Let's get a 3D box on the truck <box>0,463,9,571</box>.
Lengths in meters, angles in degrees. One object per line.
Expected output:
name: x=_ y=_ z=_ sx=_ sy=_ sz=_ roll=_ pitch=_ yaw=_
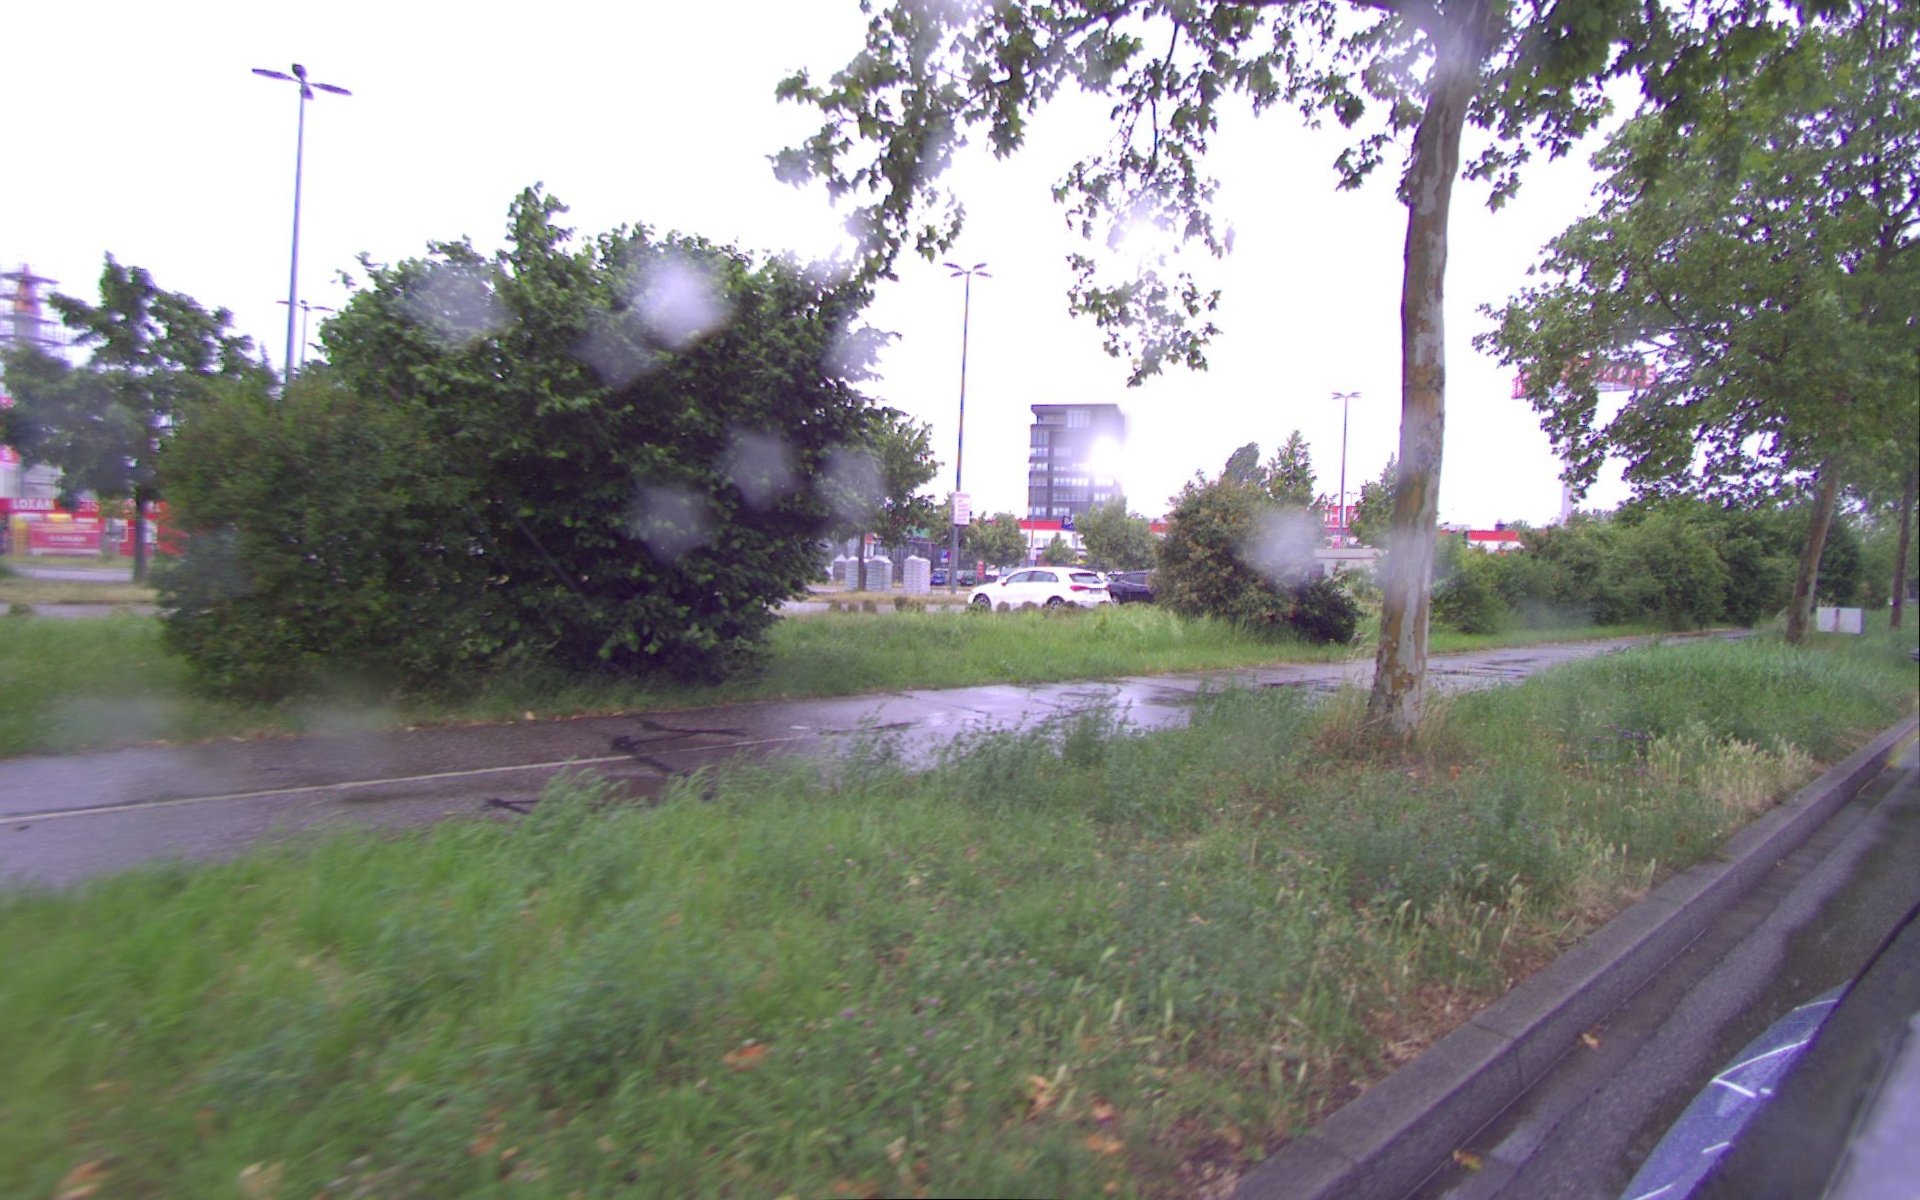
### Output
truck: x=-35.438 y=-2.856 z=32.993 sx=7.898 sy=3.513 sz=2.542 roll=2 pitch=1 yaw=14

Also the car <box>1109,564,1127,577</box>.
car: x=23.885 y=-4.453 z=152.940 sx=1.907 sy=1.900 sz=4.245 roll=2 pitch=2 yaw=21

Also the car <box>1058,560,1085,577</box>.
car: x=11.220 y=-3.180 z=101.572 sx=1.974 sy=1.697 sz=4.255 roll=2 pitch=2 yaw=15

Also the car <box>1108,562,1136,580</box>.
car: x=15.259 y=-2.738 z=95.173 sx=1.906 sy=1.571 sz=4.247 roll=2 pitch=2 yaw=20

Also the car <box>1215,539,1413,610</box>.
car: x=12.853 y=-1.011 z=37.108 sx=6.398 sy=2.391 sz=2.357 roll=3 pitch=3 yaw=41

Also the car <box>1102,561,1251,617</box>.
car: x=6.798 y=-0.397 z=32.048 sx=4.262 sy=1.571 sz=1.899 roll=3 pitch=3 yaw=45

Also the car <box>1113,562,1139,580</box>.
car: x=18.022 y=-3.150 z=109.861 sx=1.906 sy=1.921 sz=4.720 roll=2 pitch=2 yaw=20

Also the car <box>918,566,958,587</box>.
car: x=-1.724 y=-1.929 z=80.869 sx=1.904 sy=1.571 sz=4.250 roll=2 pitch=2 yaw=18

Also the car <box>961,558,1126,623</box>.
car: x=2.223 y=-0.306 z=27.728 sx=4.262 sy=1.571 sz=1.899 roll=3 pitch=3 yaw=45

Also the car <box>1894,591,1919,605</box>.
car: x=120.112 y=-0.243 z=127.987 sx=1.981 sy=1.638 sz=3.961 roll=0 pitch=1 yaw=28

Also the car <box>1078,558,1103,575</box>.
car: x=15.352 y=-3.967 z=118.700 sx=1.907 sy=1.900 sz=4.245 roll=2 pitch=2 yaw=21

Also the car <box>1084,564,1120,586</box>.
car: x=10.800 y=-1.928 z=76.706 sx=1.906 sy=1.571 sz=4.247 roll=2 pitch=2 yaw=20

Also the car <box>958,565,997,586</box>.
car: x=1.418 y=-1.992 z=80.308 sx=1.904 sy=1.571 sz=4.250 roll=2 pitch=2 yaw=18
